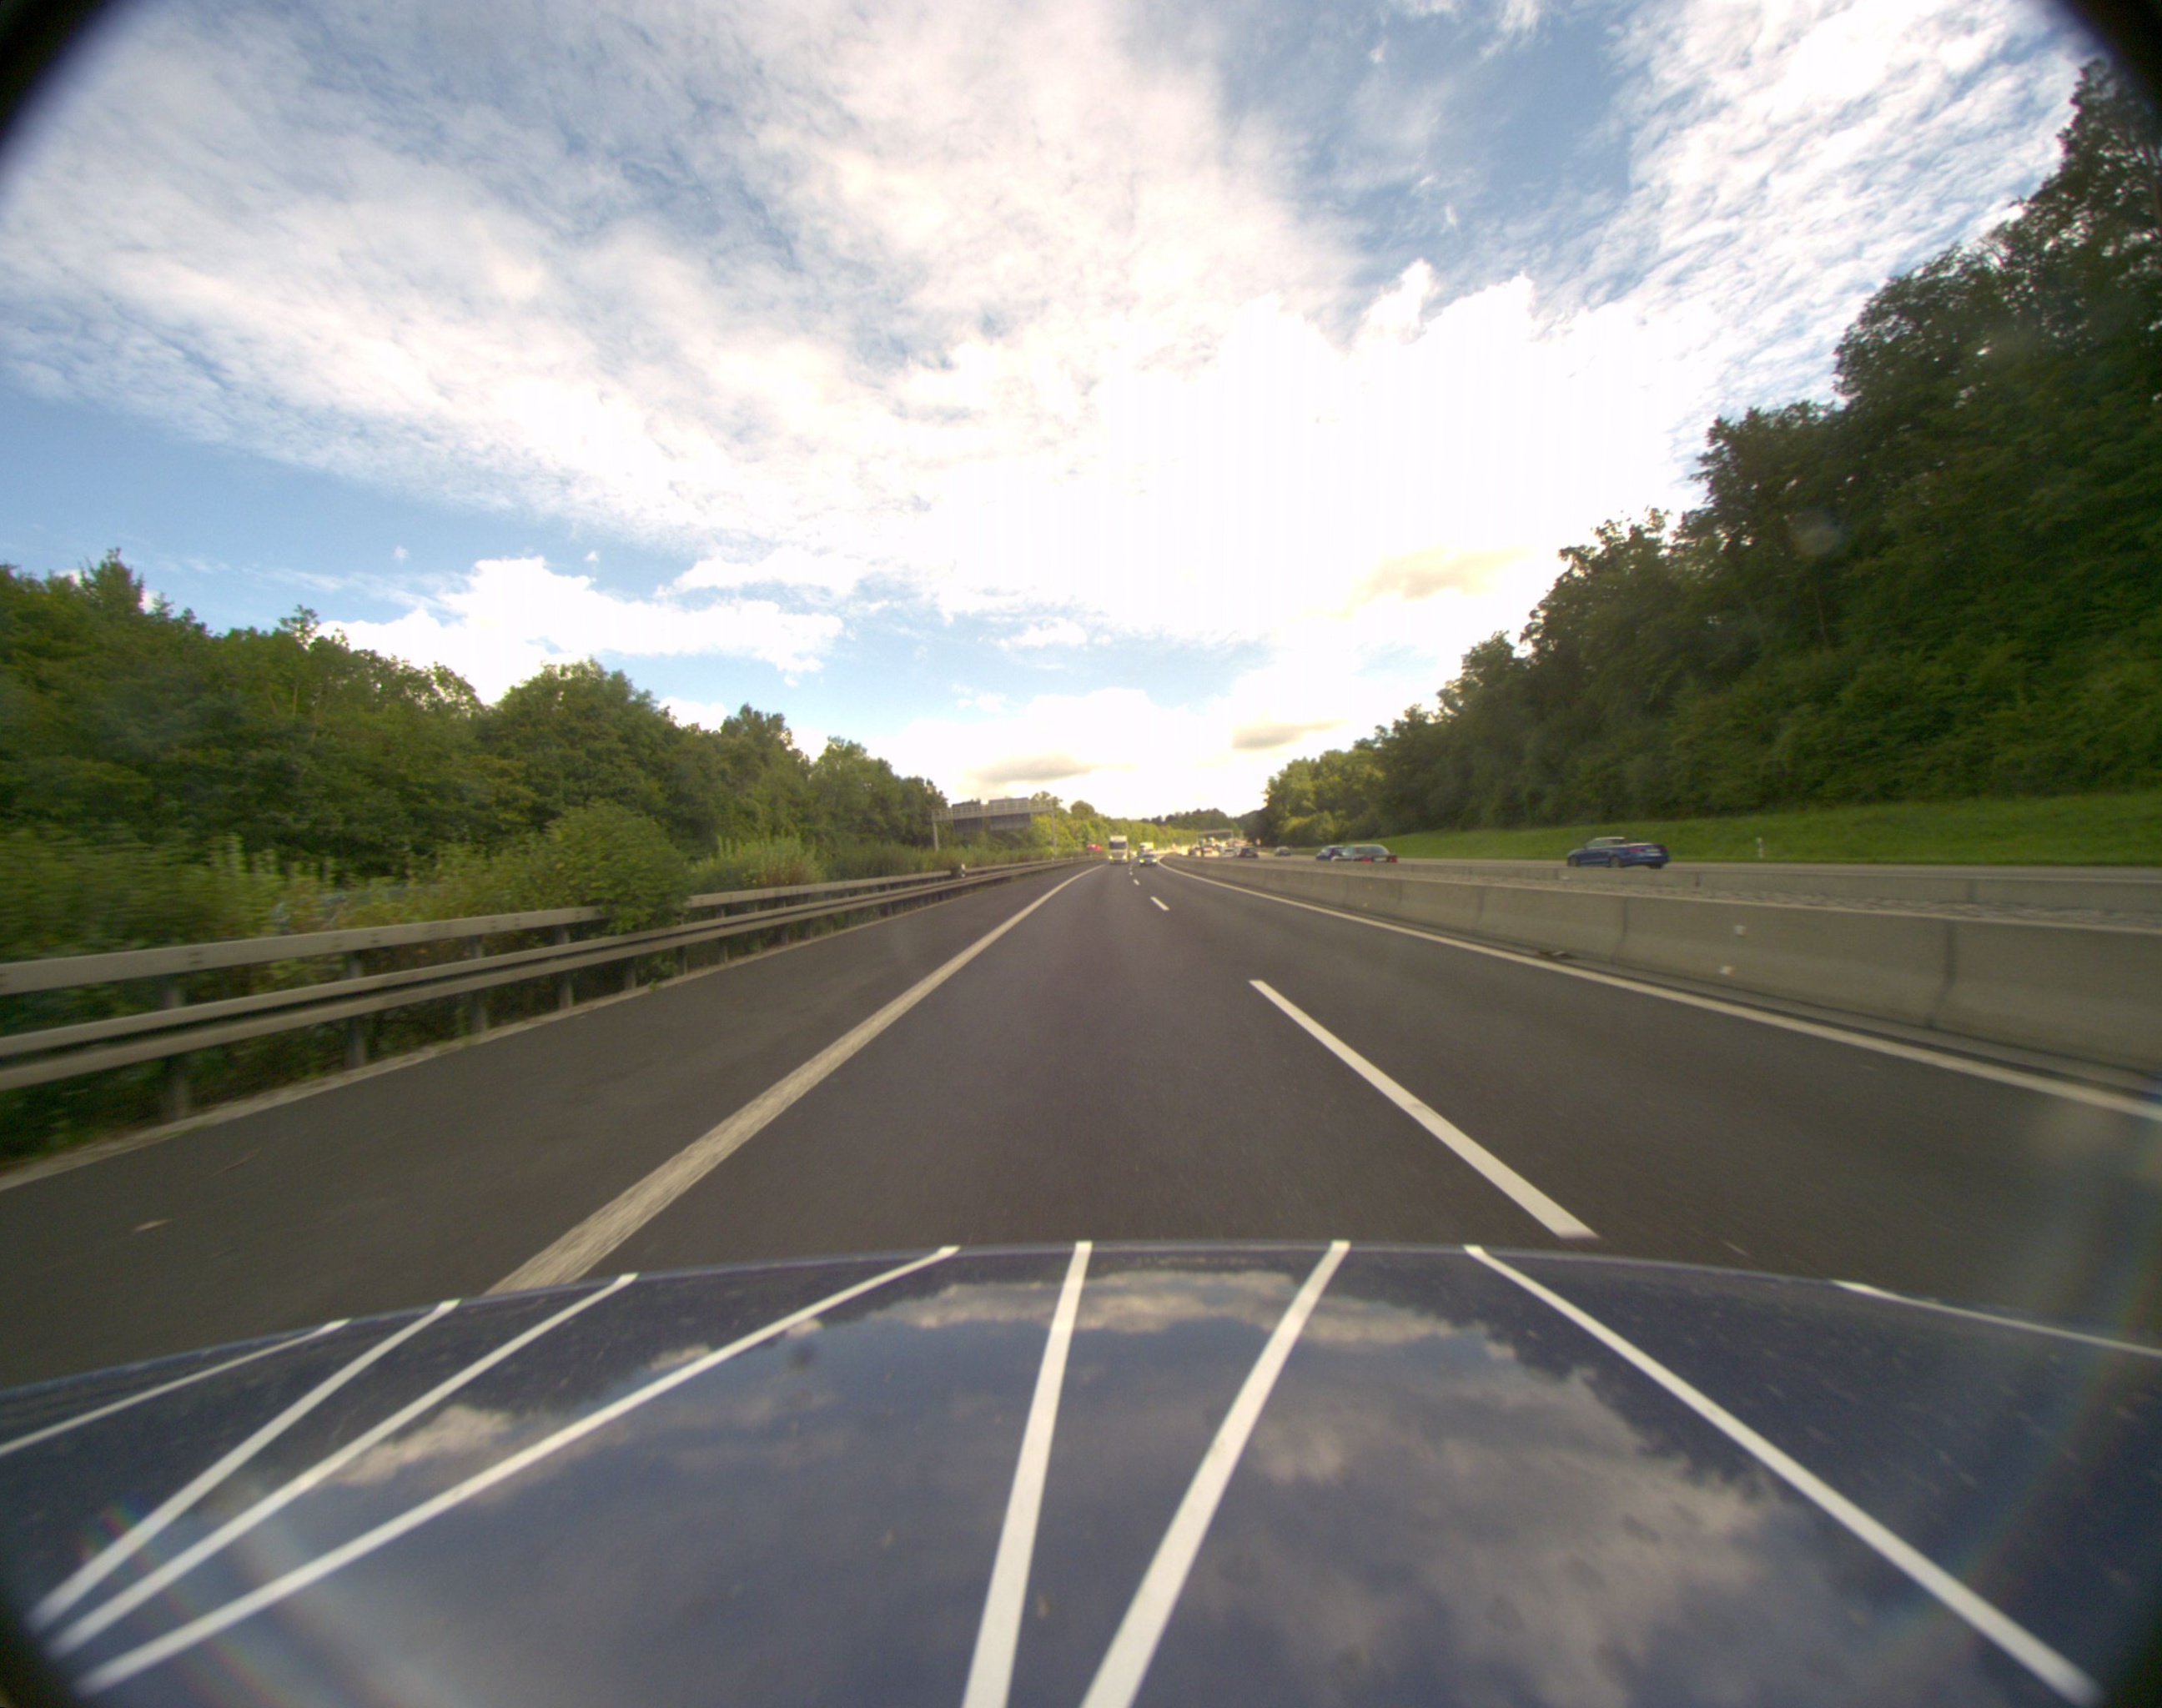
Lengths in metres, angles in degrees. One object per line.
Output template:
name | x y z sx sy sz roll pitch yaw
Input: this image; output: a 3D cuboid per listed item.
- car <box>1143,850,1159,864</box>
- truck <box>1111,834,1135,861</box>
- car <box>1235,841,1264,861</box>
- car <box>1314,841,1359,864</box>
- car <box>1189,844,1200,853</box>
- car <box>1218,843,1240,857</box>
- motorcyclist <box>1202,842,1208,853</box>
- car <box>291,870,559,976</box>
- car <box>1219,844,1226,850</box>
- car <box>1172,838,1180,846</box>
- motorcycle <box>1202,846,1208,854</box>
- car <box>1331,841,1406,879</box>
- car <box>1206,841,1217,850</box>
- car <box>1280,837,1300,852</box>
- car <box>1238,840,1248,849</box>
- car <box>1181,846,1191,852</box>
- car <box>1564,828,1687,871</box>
car | 7.837 0.296 85.104 1.662 1.464 4.001 -3 1 6
truck | 6.172 -1.035 110.894 2.795 3.562 11.461 -2 1 6
car | 15.163 -0.281 68.533 1.880 1.688 4.315 -2 0 4
car | 19.009 -0.127 56.695 1.998 1.530 4.740 -2 0 4
car | 24.125 -1.210 161.936 1.998 1.617 4.778 -2 1 5
car | 16.633 -0.441 85.474 1.764 1.452 4.296 -2 0 4
motorcyclist | 19.695 -1.002 121.008 0.897 1.624 0.922 -2 1 8
car | -15.542 1.513 18.501 1.998 2.002 4.910 -3 1 3
car | 44.236 -2.156 237.432 1.997 2.022 4.002 -2 0 8
car | 25.334 -3.256 201.608 1.997 2.022 4.002 -2 0 8
motorcycle | 19.724 -0.622 120.995 0.924 1.181 2.640 -2 0 8
car | 12.964 0.232 34.543 1.703 1.530 4.501 -2 0 1
car | 32.206 -2.128 187.983 2.205 2.117 8.080 -3 1 7
car | 30.434 -1.361 110.804 2.029 2.022 4.782 -2 0 6
car | 38.857 -2.233 182.732 1.997 2.022 4.002 -2 0 8
car | 26.215 -1.201 189.808 1.987 1.501 5.963 -3 0 6
car | 22.257 -0.167 31.323 1.809 1.565 4.558 -2 0 0
